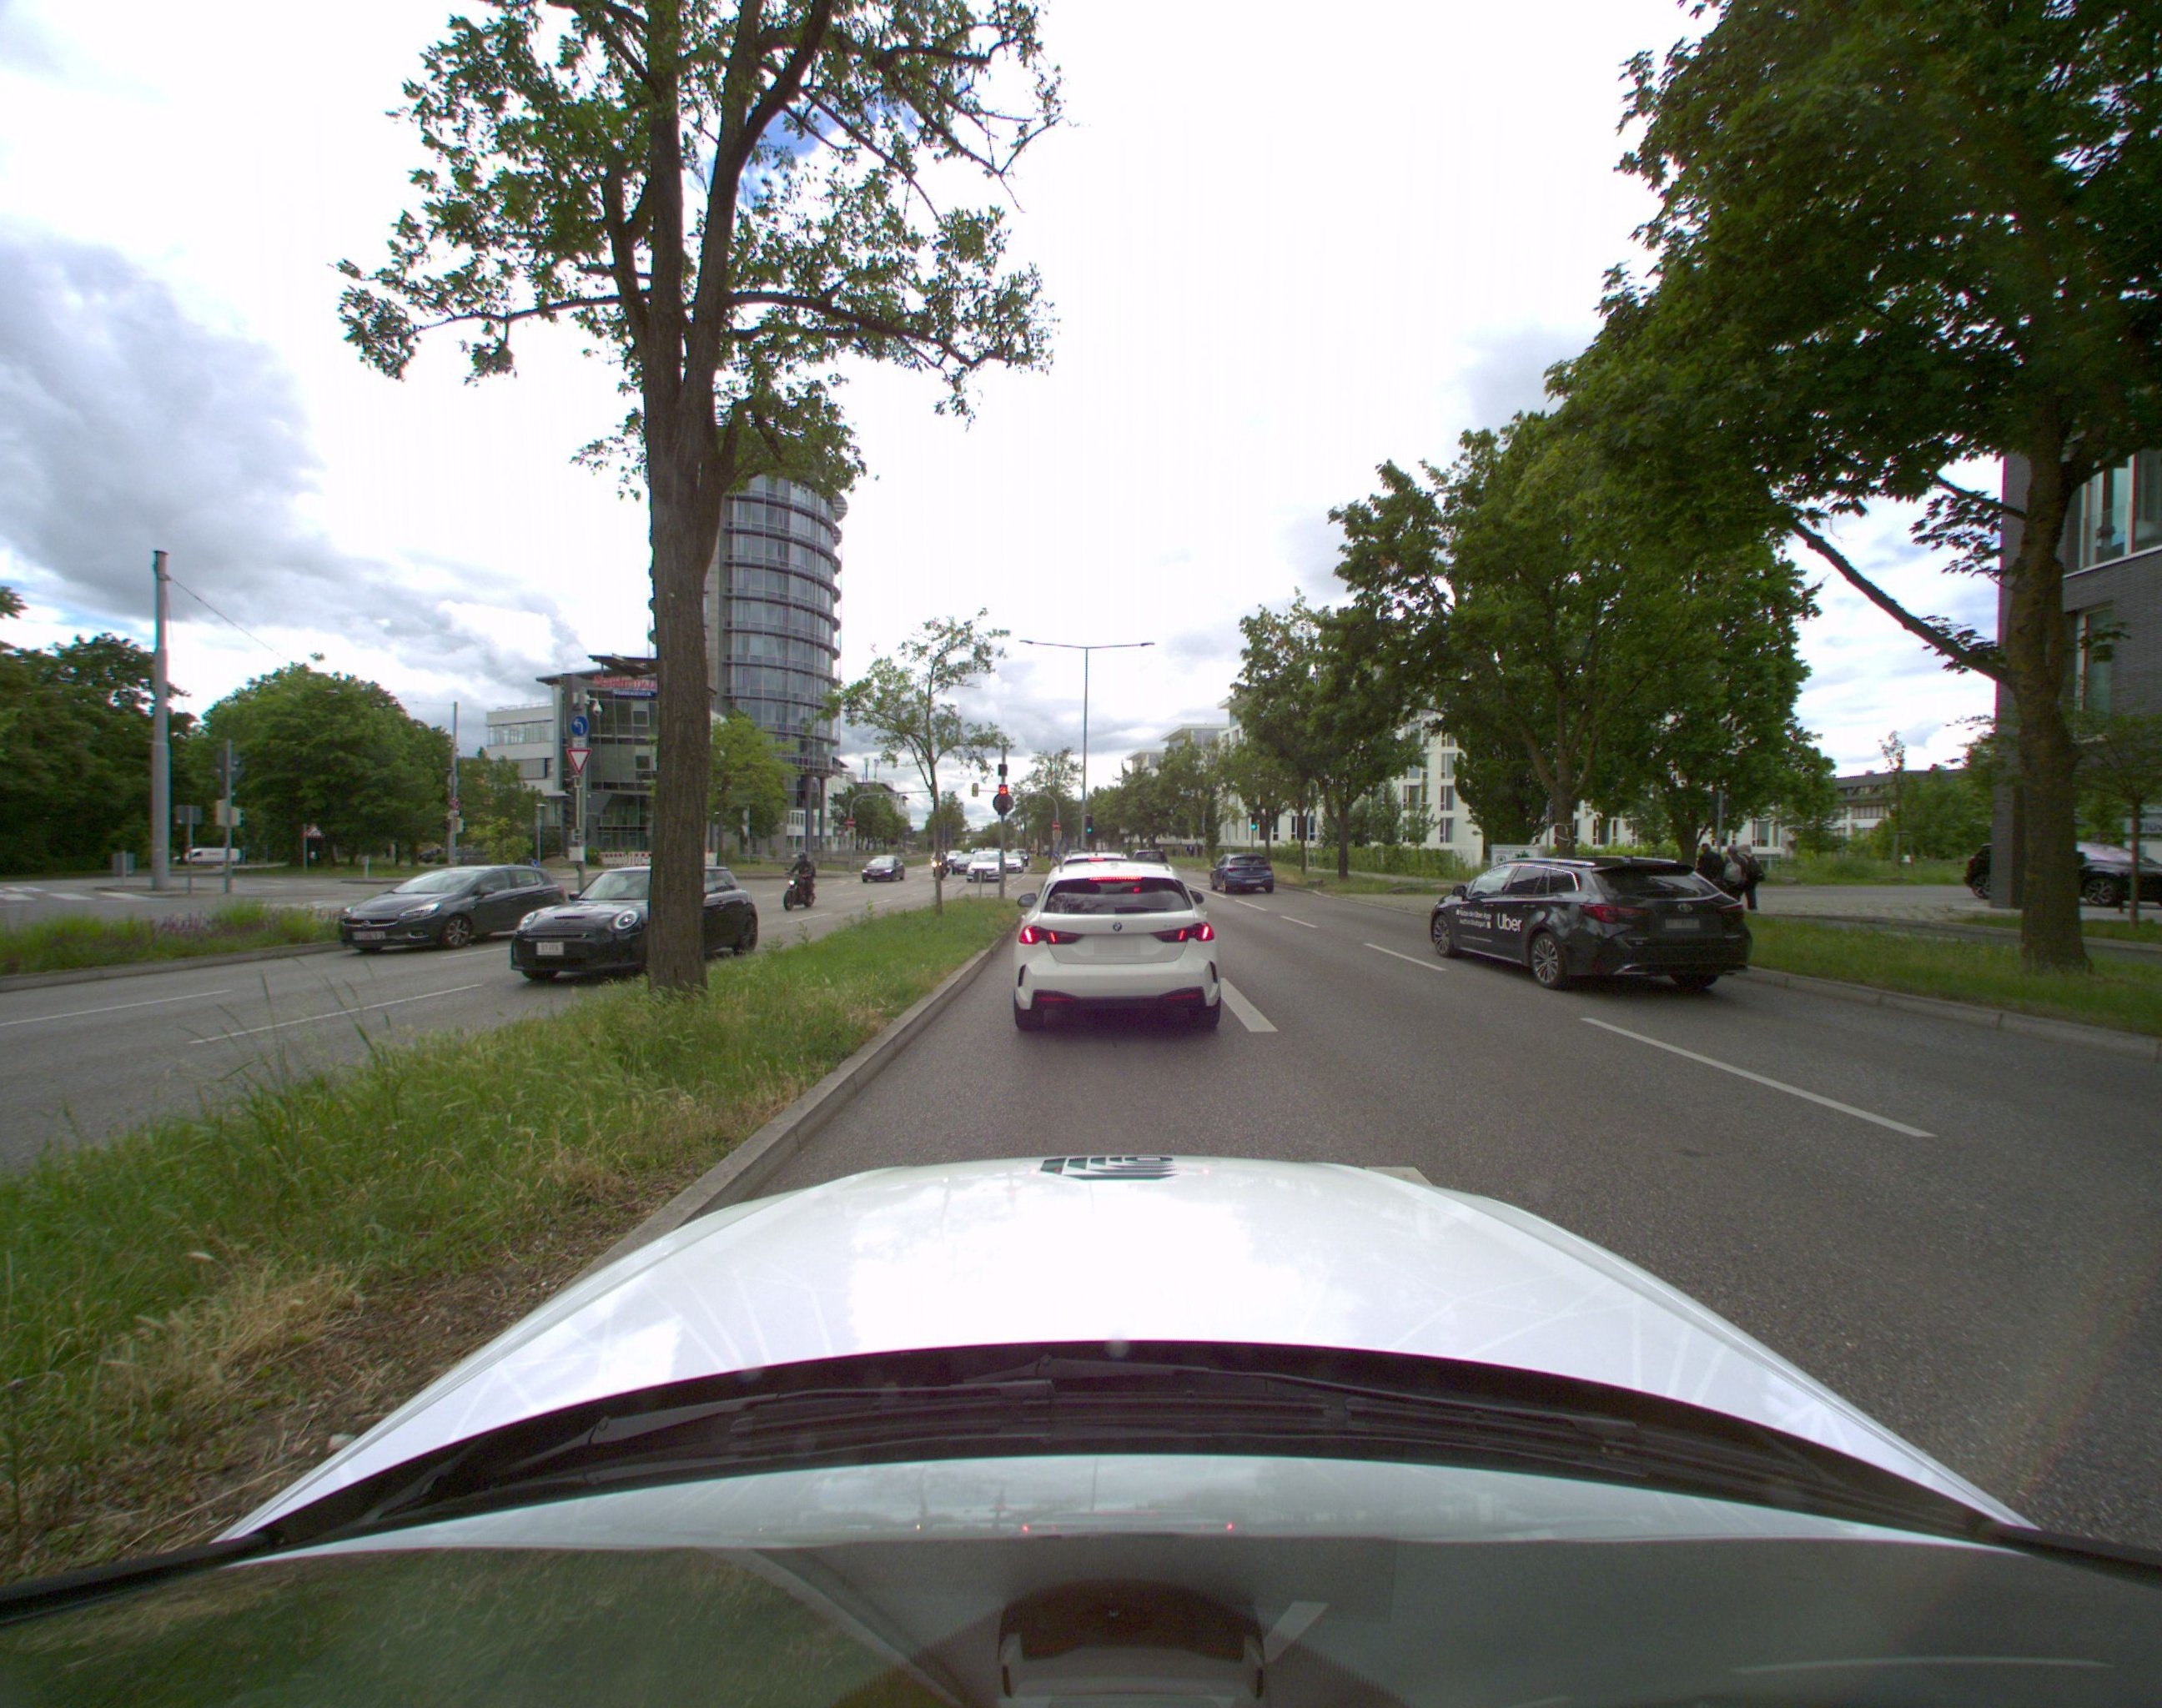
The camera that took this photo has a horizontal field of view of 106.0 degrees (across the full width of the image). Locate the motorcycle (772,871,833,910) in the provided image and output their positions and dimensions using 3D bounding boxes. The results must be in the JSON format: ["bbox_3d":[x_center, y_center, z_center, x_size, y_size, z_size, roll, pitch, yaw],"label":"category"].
[{"bbox_3d":[-8.332,1.060,24.509,0.835,1.064,2.654,0,0,2],"label":"motorcycle"}]

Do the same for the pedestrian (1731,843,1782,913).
[{"bbox_3d":[15.354,0.528,18.537,0.586,1.552,0.745,0,0,7],"label":"pedestrian"}]

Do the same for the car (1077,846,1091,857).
[{"bbox_3d":[0.401,-0.367,116.500,1.988,1.596,3.998,0,0,-1],"label":"car"}]

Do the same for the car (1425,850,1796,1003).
[{"bbox_3d":[5.972,0.703,9.961,1.758,1.449,4.421,0,0,1],"label":"car"}]

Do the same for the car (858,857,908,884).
[{"bbox_3d":[-10.966,0.876,45.268,1.701,1.419,3.804,-1,0,2],"label":"car"}]

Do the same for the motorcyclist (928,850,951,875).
[{"bbox_3d":[-7.879,0.450,45.407,0.906,1.392,1.674,0,0,2],"label":"motorcyclist"}]

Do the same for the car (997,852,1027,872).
[{"bbox_3d":[-4.901,0.529,57.917,1.661,1.405,4.002,0,0,2],"label":"car"}]

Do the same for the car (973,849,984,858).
[{"bbox_3d":[-22.694,-0.089,181.079,1.988,2.011,4.322,0,0,-1],"label":"car"}]

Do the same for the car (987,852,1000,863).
[{"bbox_3d":[-15.489,0.612,144.016,1.988,2.011,4.322,0,0,-1],"label":"car"}]

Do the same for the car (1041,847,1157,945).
[{"bbox_3d":[0.397,0.731,15.960,1.985,1.672,4.003,0,0,3],"label":"car"}]

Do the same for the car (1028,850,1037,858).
[{"bbox_3d":[-12.495,-0.036,212.085,1.986,2.013,4.002,0,0,2],"label":"car"}]

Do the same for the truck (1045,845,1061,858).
[{"bbox_3d":[-5.845,-0.517,167.446,2.856,2.519,6.274,0,0,-6],"label":"truck"}]

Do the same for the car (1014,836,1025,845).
[{"bbox_3d":[-13.156,-2.882,174.919,1.988,2.011,4.322,2,0,-1],"label":"car"}]

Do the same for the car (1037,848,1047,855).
[{"bbox_3d":[-8.757,-0.634,183.351,1.991,1.508,3.993,0,0,-5],"label":"car"}]

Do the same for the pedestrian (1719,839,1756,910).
[{"bbox_3d":[14.555,0.455,18.061,0.407,1.552,0.563,0,0,7],"label":"pedestrian"}]

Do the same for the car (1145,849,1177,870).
[{"bbox_3d":[5.810,0.383,59.581,1.789,1.472,4.696,0,0,-2],"label":"car"}]

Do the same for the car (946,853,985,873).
[{"bbox_3d":[-8.028,0.613,57.000,1.986,1.354,4.002,0,0,2],"label":"car"}]

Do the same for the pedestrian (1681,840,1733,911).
[{"bbox_3d":[13.998,0.477,18.229,0.721,1.552,0.588,0,0,7],"label":"pedestrian"}]

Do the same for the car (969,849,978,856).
[{"bbox_3d":[-29.314,-0.417,221.814,1.988,2.011,4.322,0,0,-1],"label":"car"}]

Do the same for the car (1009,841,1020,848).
[{"bbox_3d":[-15.626,-2.148,191.954,1.986,1.618,4.002,2,0,2],"label":"car"}]

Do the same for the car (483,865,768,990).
[{"bbox_3d":[-6.058,0.886,11.416,1.747,1.371,3.781,-1,0,2],"label":"car"}]

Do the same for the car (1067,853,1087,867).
[{"bbox_3d":[-0.489,0.672,95.097,2.049,1.486,4.967,-4,1,-4],"label":"car"}]

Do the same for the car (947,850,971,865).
[{"bbox_3d":[-12.116,0.365,80.999,1.701,1.419,3.804,-1,0,2],"label":"car"}]

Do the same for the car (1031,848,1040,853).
[{"bbox_3d":[-12.058,-0.896,215.387,1.992,1.508,3.990,0,0,-7],"label":"car"}]

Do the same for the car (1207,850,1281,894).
[{"bbox_3d":[5.996,0.619,30.460,1.960,1.439,4.313,-2,0,1],"label":"car"}]

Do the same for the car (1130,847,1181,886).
[{"bbox_3d":[3.298,0.528,36.903,1.960,1.640,4.313,-1,0,1],"label":"car"}]

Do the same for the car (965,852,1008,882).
[{"bbox_3d":[-4.980,0.641,43.463,1.701,1.497,3.804,-1,0,2],"label":"car"}]

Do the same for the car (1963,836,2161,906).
[{"bbox_3d":[24.966,0.385,20.218,1.817,1.552,4.183,0,0,4],"label":"car"}]

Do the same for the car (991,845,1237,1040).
[{"bbox_3d":[0.392,0.674,8.139,1.855,1.449,4.004,0,0,4],"label":"car"}]

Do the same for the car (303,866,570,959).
[{"bbox_3d":[-11.750,0.981,15.266,1.701,1.419,4.020,-1,0,2],"label":"car"}]

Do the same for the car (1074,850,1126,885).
[{"bbox_3d":[0.937,0.588,37.299,1.983,1.508,4.008,0,0,7],"label":"car"}]

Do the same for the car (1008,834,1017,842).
[{"bbox_3d":[-18.307,-4.215,217.719,1.986,2.013,4.002,2,0,2],"label":"car"}]

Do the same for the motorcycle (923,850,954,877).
[{"bbox_3d":[-7.896,0.501,45.352,0.886,1.398,4.002,0,0,2],"label":"motorcycle"}]

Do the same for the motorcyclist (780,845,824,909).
[{"bbox_3d":[-8.312,0.665,24.285,0.845,1.837,1.260,0,0,2],"label":"motorcyclist"}]
